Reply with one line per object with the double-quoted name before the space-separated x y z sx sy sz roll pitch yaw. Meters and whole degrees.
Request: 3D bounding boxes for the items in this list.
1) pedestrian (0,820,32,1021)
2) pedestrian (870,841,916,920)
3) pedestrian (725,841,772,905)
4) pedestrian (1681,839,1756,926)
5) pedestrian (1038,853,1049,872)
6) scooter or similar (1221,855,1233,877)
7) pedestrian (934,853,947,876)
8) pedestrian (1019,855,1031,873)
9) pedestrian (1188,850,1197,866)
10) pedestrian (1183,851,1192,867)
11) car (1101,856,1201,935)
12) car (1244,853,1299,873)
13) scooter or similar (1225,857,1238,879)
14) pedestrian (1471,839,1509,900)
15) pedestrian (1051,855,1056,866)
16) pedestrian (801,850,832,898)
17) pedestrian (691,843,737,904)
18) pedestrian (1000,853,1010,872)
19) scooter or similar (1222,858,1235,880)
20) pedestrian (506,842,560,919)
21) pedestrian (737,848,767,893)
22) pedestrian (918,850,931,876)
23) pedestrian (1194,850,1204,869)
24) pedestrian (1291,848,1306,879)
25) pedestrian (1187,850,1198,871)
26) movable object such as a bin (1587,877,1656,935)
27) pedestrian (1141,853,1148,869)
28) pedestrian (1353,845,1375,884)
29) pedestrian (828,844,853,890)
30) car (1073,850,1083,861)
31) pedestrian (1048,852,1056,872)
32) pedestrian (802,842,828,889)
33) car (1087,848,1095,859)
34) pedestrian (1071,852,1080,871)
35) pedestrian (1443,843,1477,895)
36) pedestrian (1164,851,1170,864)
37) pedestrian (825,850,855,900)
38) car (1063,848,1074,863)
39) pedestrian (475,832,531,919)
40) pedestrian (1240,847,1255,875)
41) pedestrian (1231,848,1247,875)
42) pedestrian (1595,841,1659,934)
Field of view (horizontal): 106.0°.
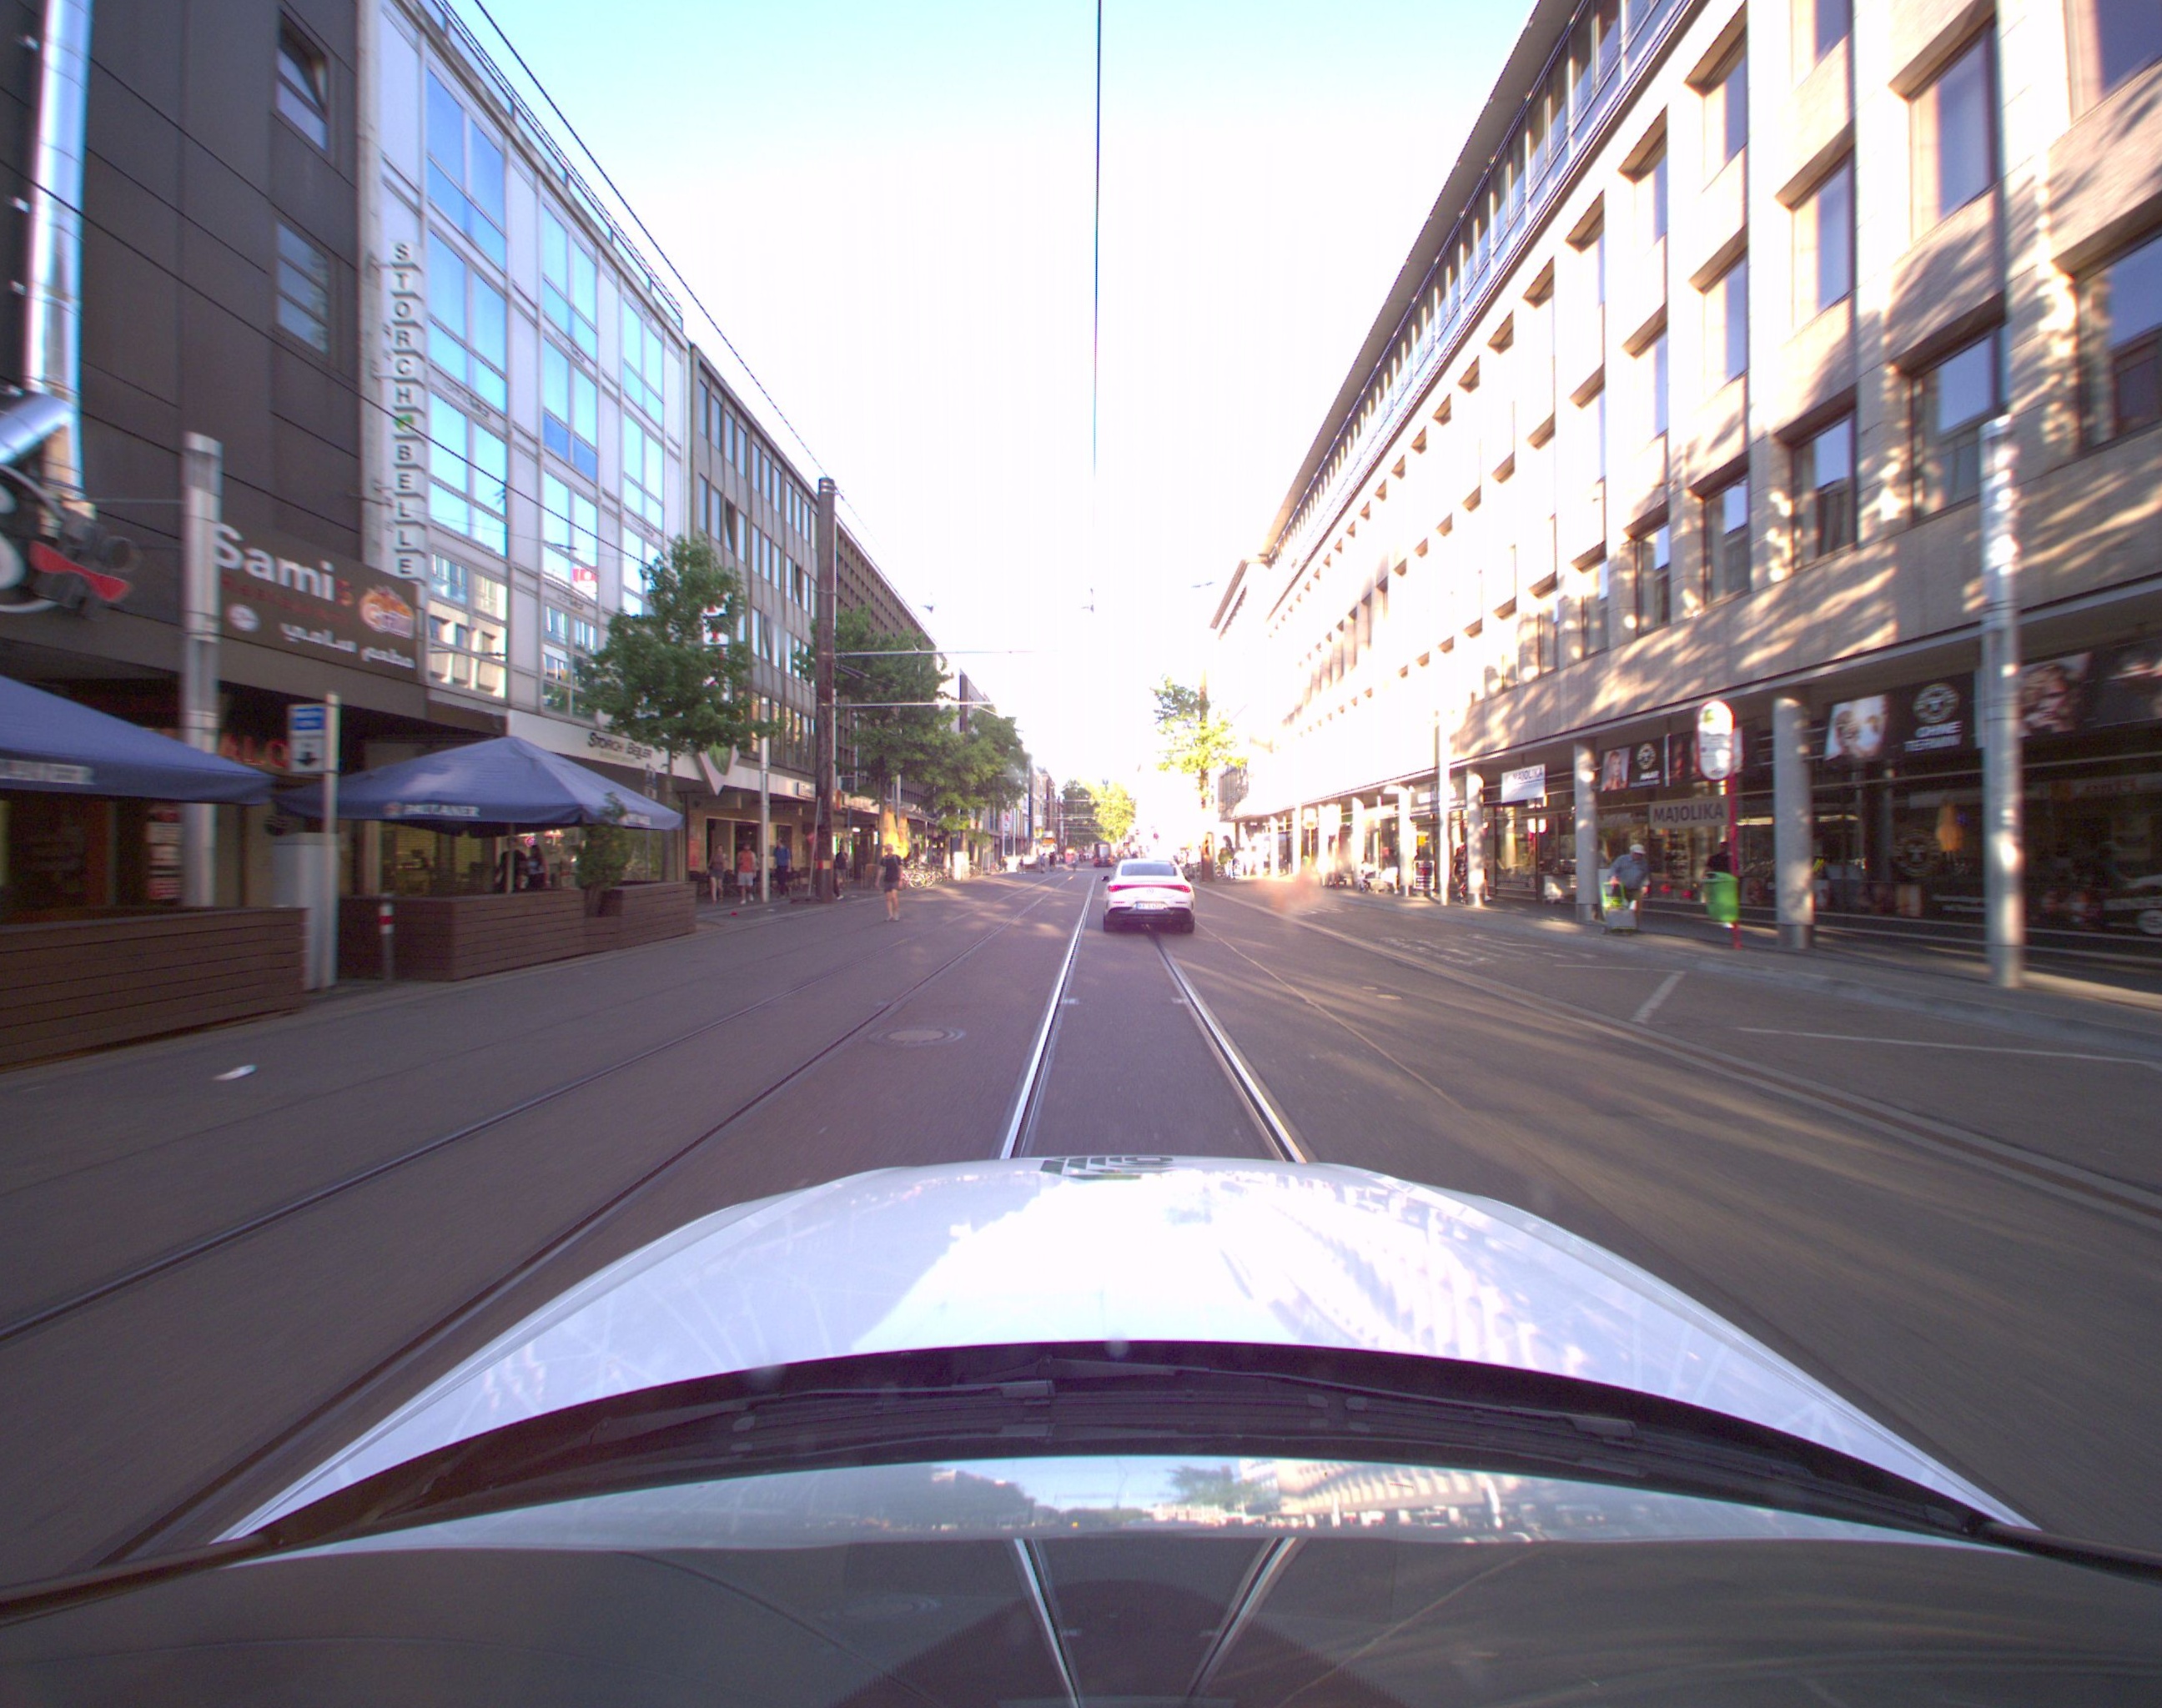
"pedestrian" -9.595 0.565 6.811 0.715 1.724 0.675 1 0 0
"pedestrian" -4.417 0.606 19.193 0.838 1.801 0.791 1 0 2
"pedestrian" -9.475 0.530 23.195 0.842 1.741 0.839 1 0 21
"pedestrian" 11.983 0.524 15.334 0.693 1.589 0.926 0 0 2
"pedestrian" -3.281 0.765 71.663 0.901 1.698 0.849 -1 0 2
"scooter or similar" 8.844 0.737 49.329 0.527 1.277 0.658 -2 0 -10
"pedestrian" -10.901 0.810 63.047 0.728 1.762 0.810 0 0 -34
"pedestrian" -4.888 0.859 71.197 0.952 1.496 0.945 -1 0 2
"pedestrian" 12.345 0.415 90.414 0.815 1.685 0.804 -2 0 1
"pedestrian" 10.751 0.514 81.905 0.834 1.662 0.786 -1 0 3
"car" 1.371 0.785 17.444 1.850 1.455 4.176 1 0 1
"car" 14.652 0.658 62.823 3.794 1.473 1.647 -1 0 -4
"scooter or similar" 8.921 0.822 48.232 0.491 1.277 0.658 -2 0 -10
"pedestrian" 12.331 0.462 24.563 0.741 1.793 0.858 0 0 2
"pedestrian" -4.040 0.947 120.245 0.658 1.599 0.573 -1 0 0
"pedestrian" -8.526 0.646 26.274 0.620 1.509 0.834 2 0 2
"pedestrian" -10.245 0.534 22.729 0.841 1.638 0.766 1 0 21
"pedestrian" -7.022 0.758 75.498 0.835 1.717 0.785 -1 0 0
"scooter or similar" 8.847 0.907 48.797 0.527 1.277 0.658 -2 0 -10
"pedestrian" -11.199 0.536 16.657 0.595 1.533 0.672 1 0 2
"pedestrian" -11.299 0.554 27.961 0.620 1.526 0.810 2 0 2
"pedestrian" -10.625 0.599 55.253 0.789 1.767 0.533 0 0 -23
"pedestrian" 11.249 0.522 77.791 0.838 1.785 0.804 -2 0 1
"pedestrian" 11.649 0.510 43.700 0.634 1.653 0.781 0 0 2
"pedestrian" 9.625 0.580 70.227 0.746 1.785 0.767 -2 0 1
"movable object such as a bin" 9.121 0.870 13.766 0.687 0.924 0.718 1 0 2
"pedestrian" 6.809 0.752 87.336 0.744 1.698 0.840 -1 0 -1
"pedestrian" 12.876 0.464 37.102 0.713 1.741 0.835 0 0 2
"pedestrian" -9.446 0.505 32.039 0.620 1.747 0.934 2 0 2
"car" -0.678 0.359 183.730 1.902 2.461 5.277 -1 0 2
"pedestrian" -2.773 0.808 78.594 0.534 1.929 0.576 -1 -1 45
"pedestrian" -10.459 0.443 32.083 0.620 1.804 0.934 2 0 2
"car" 2.592 -0.018 215.741 2.091 2.897 5.277 -1 0 2
"pedestrian" -0.531 0.714 78.368 0.797 1.782 0.849 1 0 0
"pedestrian" 12.475 0.478 26.793 0.741 1.700 0.858 0 0 2
"pedestrian" 11.980 0.455 113.844 0.724 1.785 0.708 0 0 1
"pedestrian" -7.686 0.655 26.039 0.620 1.550 0.852 2 0 2
"car" -2.483 0.303 164.961 1.986 2.897 5.277 -1 0 2
"pedestrian" -11.801 0.429 16.644 0.595 1.745 0.672 1 0 2
"pedestrian" 11.123 0.451 54.488 0.698 1.812 1.033 -4 0 1
"pedestrian" 10.602 0.526 54.656 0.896 1.744 0.690 -4 0 1
"pedestrian" 9.530 0.569 14.237 0.679 1.572 0.632 1 0 2
